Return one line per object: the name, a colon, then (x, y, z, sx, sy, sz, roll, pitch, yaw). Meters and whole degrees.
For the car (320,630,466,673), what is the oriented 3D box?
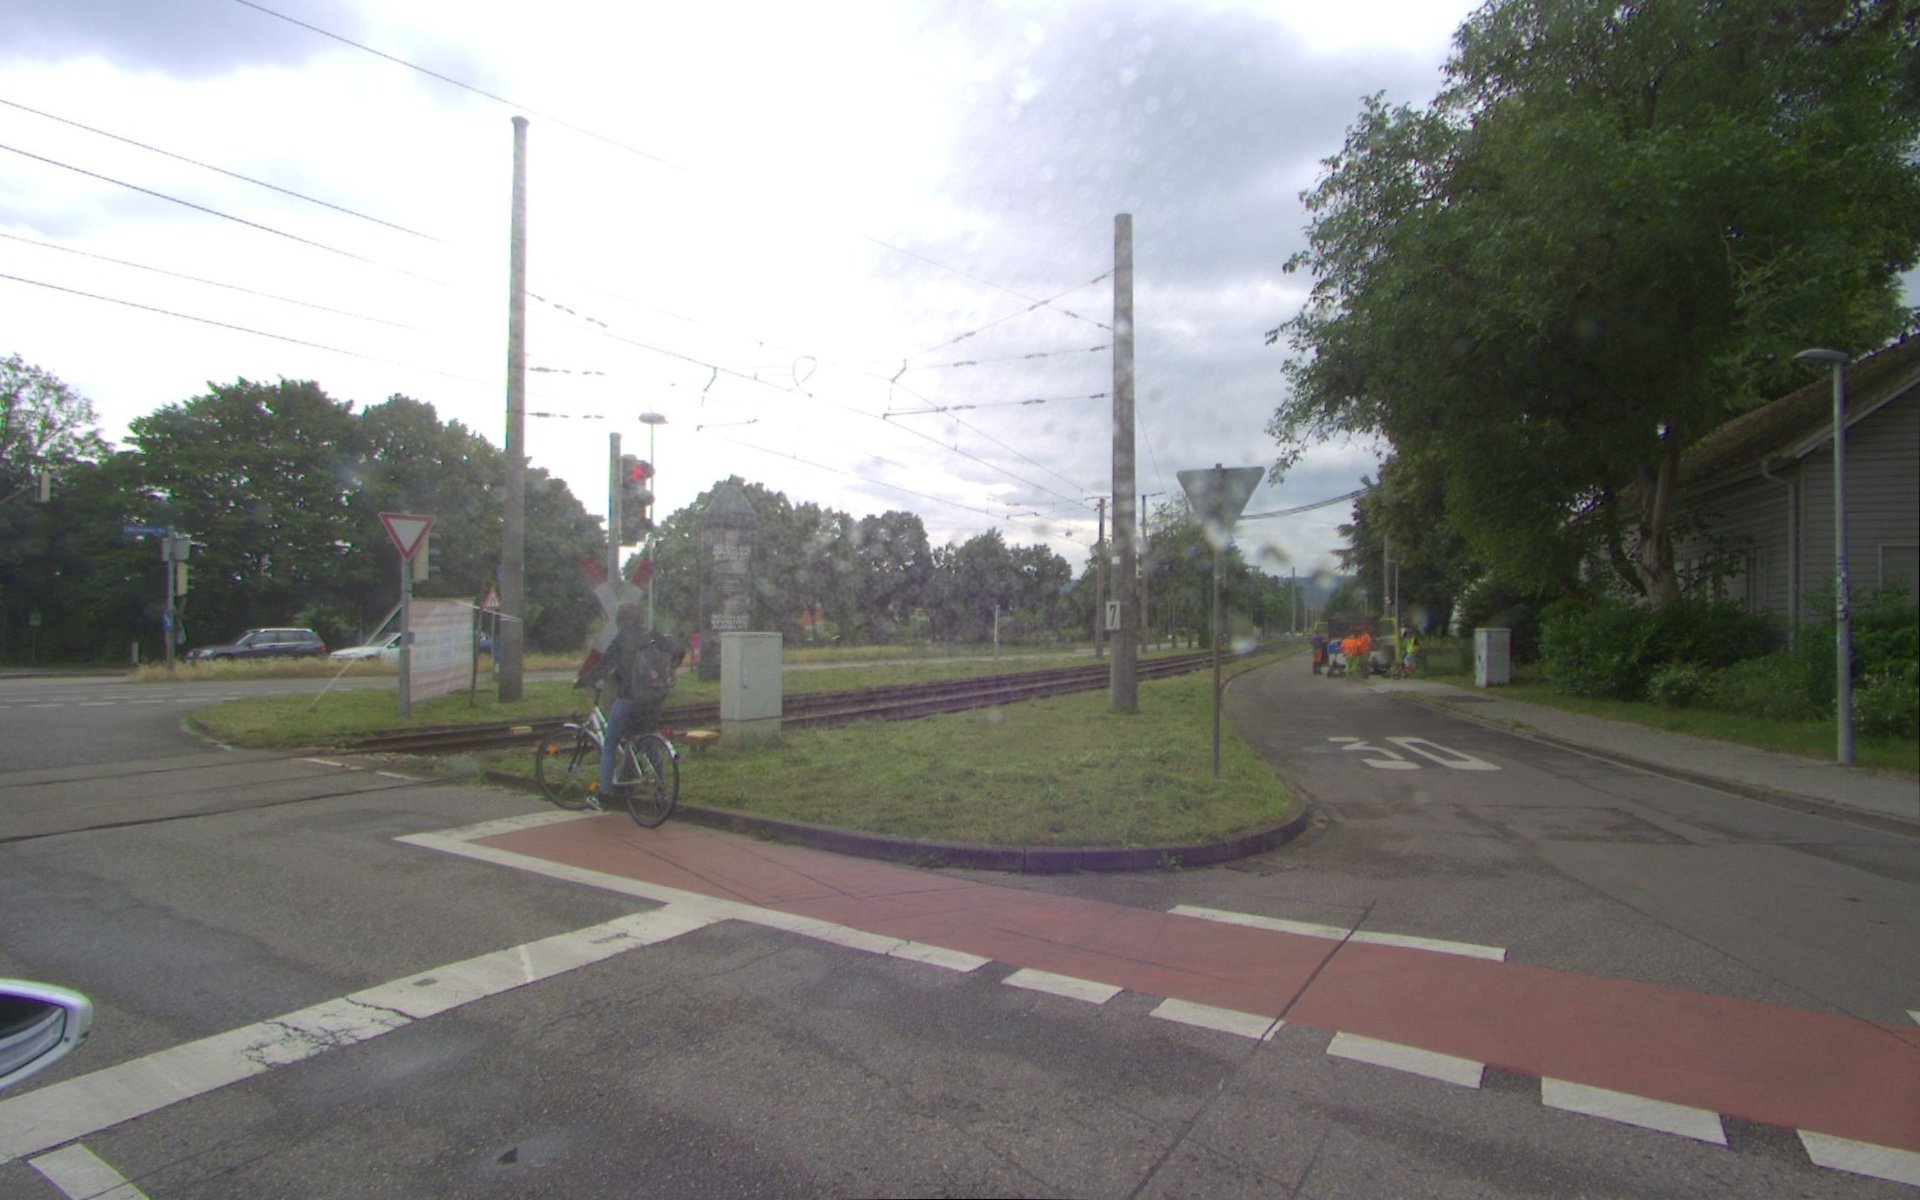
car: (-19.628, 1.761, 34.818, 1.624, 1.374, 4.129, 0, -2, 33)

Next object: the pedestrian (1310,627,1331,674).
pedestrian: (14.774, 2.064, 41.059, 0.757, 1.892, 0.604, 0, -1, 17)

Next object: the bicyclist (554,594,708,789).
bicyclist: (-2.610, 0.715, 7.957, 0.947, 1.441, 0.621, -1, -5, 32)

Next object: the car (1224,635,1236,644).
car: (50.717, 7.414, 188.020, 1.964, 1.829, 3.996, -1, -2, 16)

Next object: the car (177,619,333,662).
car: (-26.522, 1.526, 37.830, 1.820, 1.523, 4.456, 0, -2, 33)

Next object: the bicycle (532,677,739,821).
bicycle: (-2.621, 1.133, 7.967, 2.001, 0.993, 0.382, -1, -2, 32)

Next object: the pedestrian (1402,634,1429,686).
pedestrian: (16.610, 2.172, 36.513, 0.598, 1.864, 0.712, 1, -1, -13)

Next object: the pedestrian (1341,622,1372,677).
pedestrian: (13.807, 1.714, 34.859, 0.862, 1.878, 0.676, 1, -1, 34)
